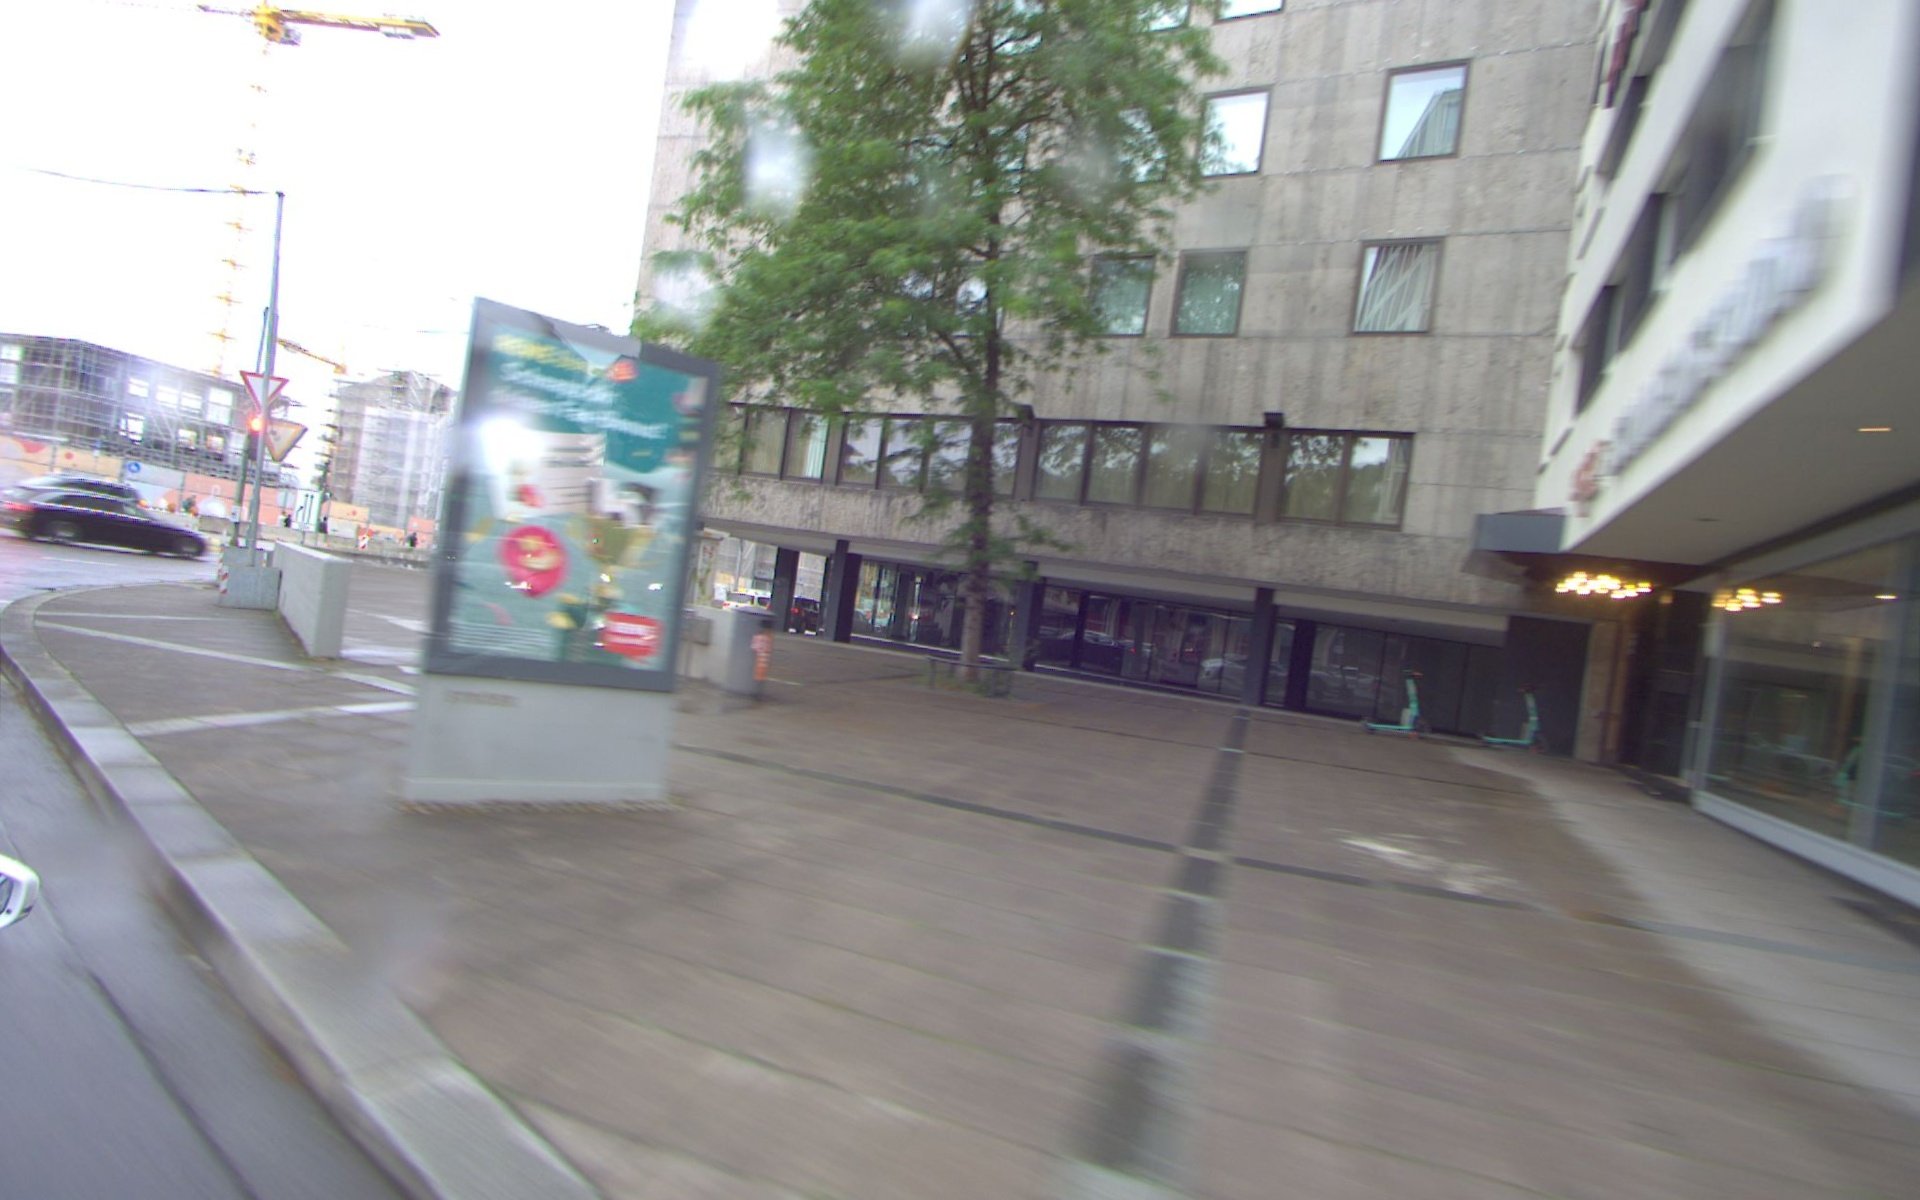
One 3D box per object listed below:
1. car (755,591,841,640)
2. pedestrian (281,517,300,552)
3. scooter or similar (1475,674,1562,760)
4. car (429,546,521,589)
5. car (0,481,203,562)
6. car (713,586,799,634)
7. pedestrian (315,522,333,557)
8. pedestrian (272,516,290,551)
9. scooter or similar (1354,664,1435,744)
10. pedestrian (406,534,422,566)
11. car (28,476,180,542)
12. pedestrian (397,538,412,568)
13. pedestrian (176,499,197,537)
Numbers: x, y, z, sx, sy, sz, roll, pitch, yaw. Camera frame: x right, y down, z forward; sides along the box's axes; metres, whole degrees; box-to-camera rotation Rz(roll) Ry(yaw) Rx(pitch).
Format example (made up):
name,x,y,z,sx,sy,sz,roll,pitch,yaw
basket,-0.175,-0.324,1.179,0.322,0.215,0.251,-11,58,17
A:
name,x,y,z,sx,sy,sz,roll,pitch,yaw
car,-7.204,0.735,45.099,1.963,1.658,4.005,7,-3,20
pedestrian,-38.961,-3.794,58.548,0.356,1.920,0.577,7,-1,24
scooter or similar,10.113,2.113,18.253,1.209,1.352,0.520,7,-2,24
car,-25.366,-1.690,52.783,1.962,1.569,4.059,7,-3,17
car,-22.960,-2.057,26.644,1.967,1.360,4.109,6,-3,31
car,-9.294,0.497,46.175,1.963,1.658,4.005,7,-3,20
pedestrian,-37.062,-3.533,58.633,0.356,1.920,0.576,7,-1,25
pedestrian,-39.739,-3.887,58.891,0.356,1.920,0.577,7,-1,24
scooter or similar,7.967,1.887,18.469,1.209,1.269,0.564,7,1,24
pedestrian,-34.844,-3.186,64.205,0.356,1.920,0.576,7,-1,25
car,-33.846,-3.558,39.912,1.963,1.753,4.004,7,-3,20
pedestrian,-36.844,-3.107,66.746,0.356,1.920,0.577,7,-1,24
pedestrian,-41.025,-4.330,53.379,0.356,1.920,0.576,7,-1,25
